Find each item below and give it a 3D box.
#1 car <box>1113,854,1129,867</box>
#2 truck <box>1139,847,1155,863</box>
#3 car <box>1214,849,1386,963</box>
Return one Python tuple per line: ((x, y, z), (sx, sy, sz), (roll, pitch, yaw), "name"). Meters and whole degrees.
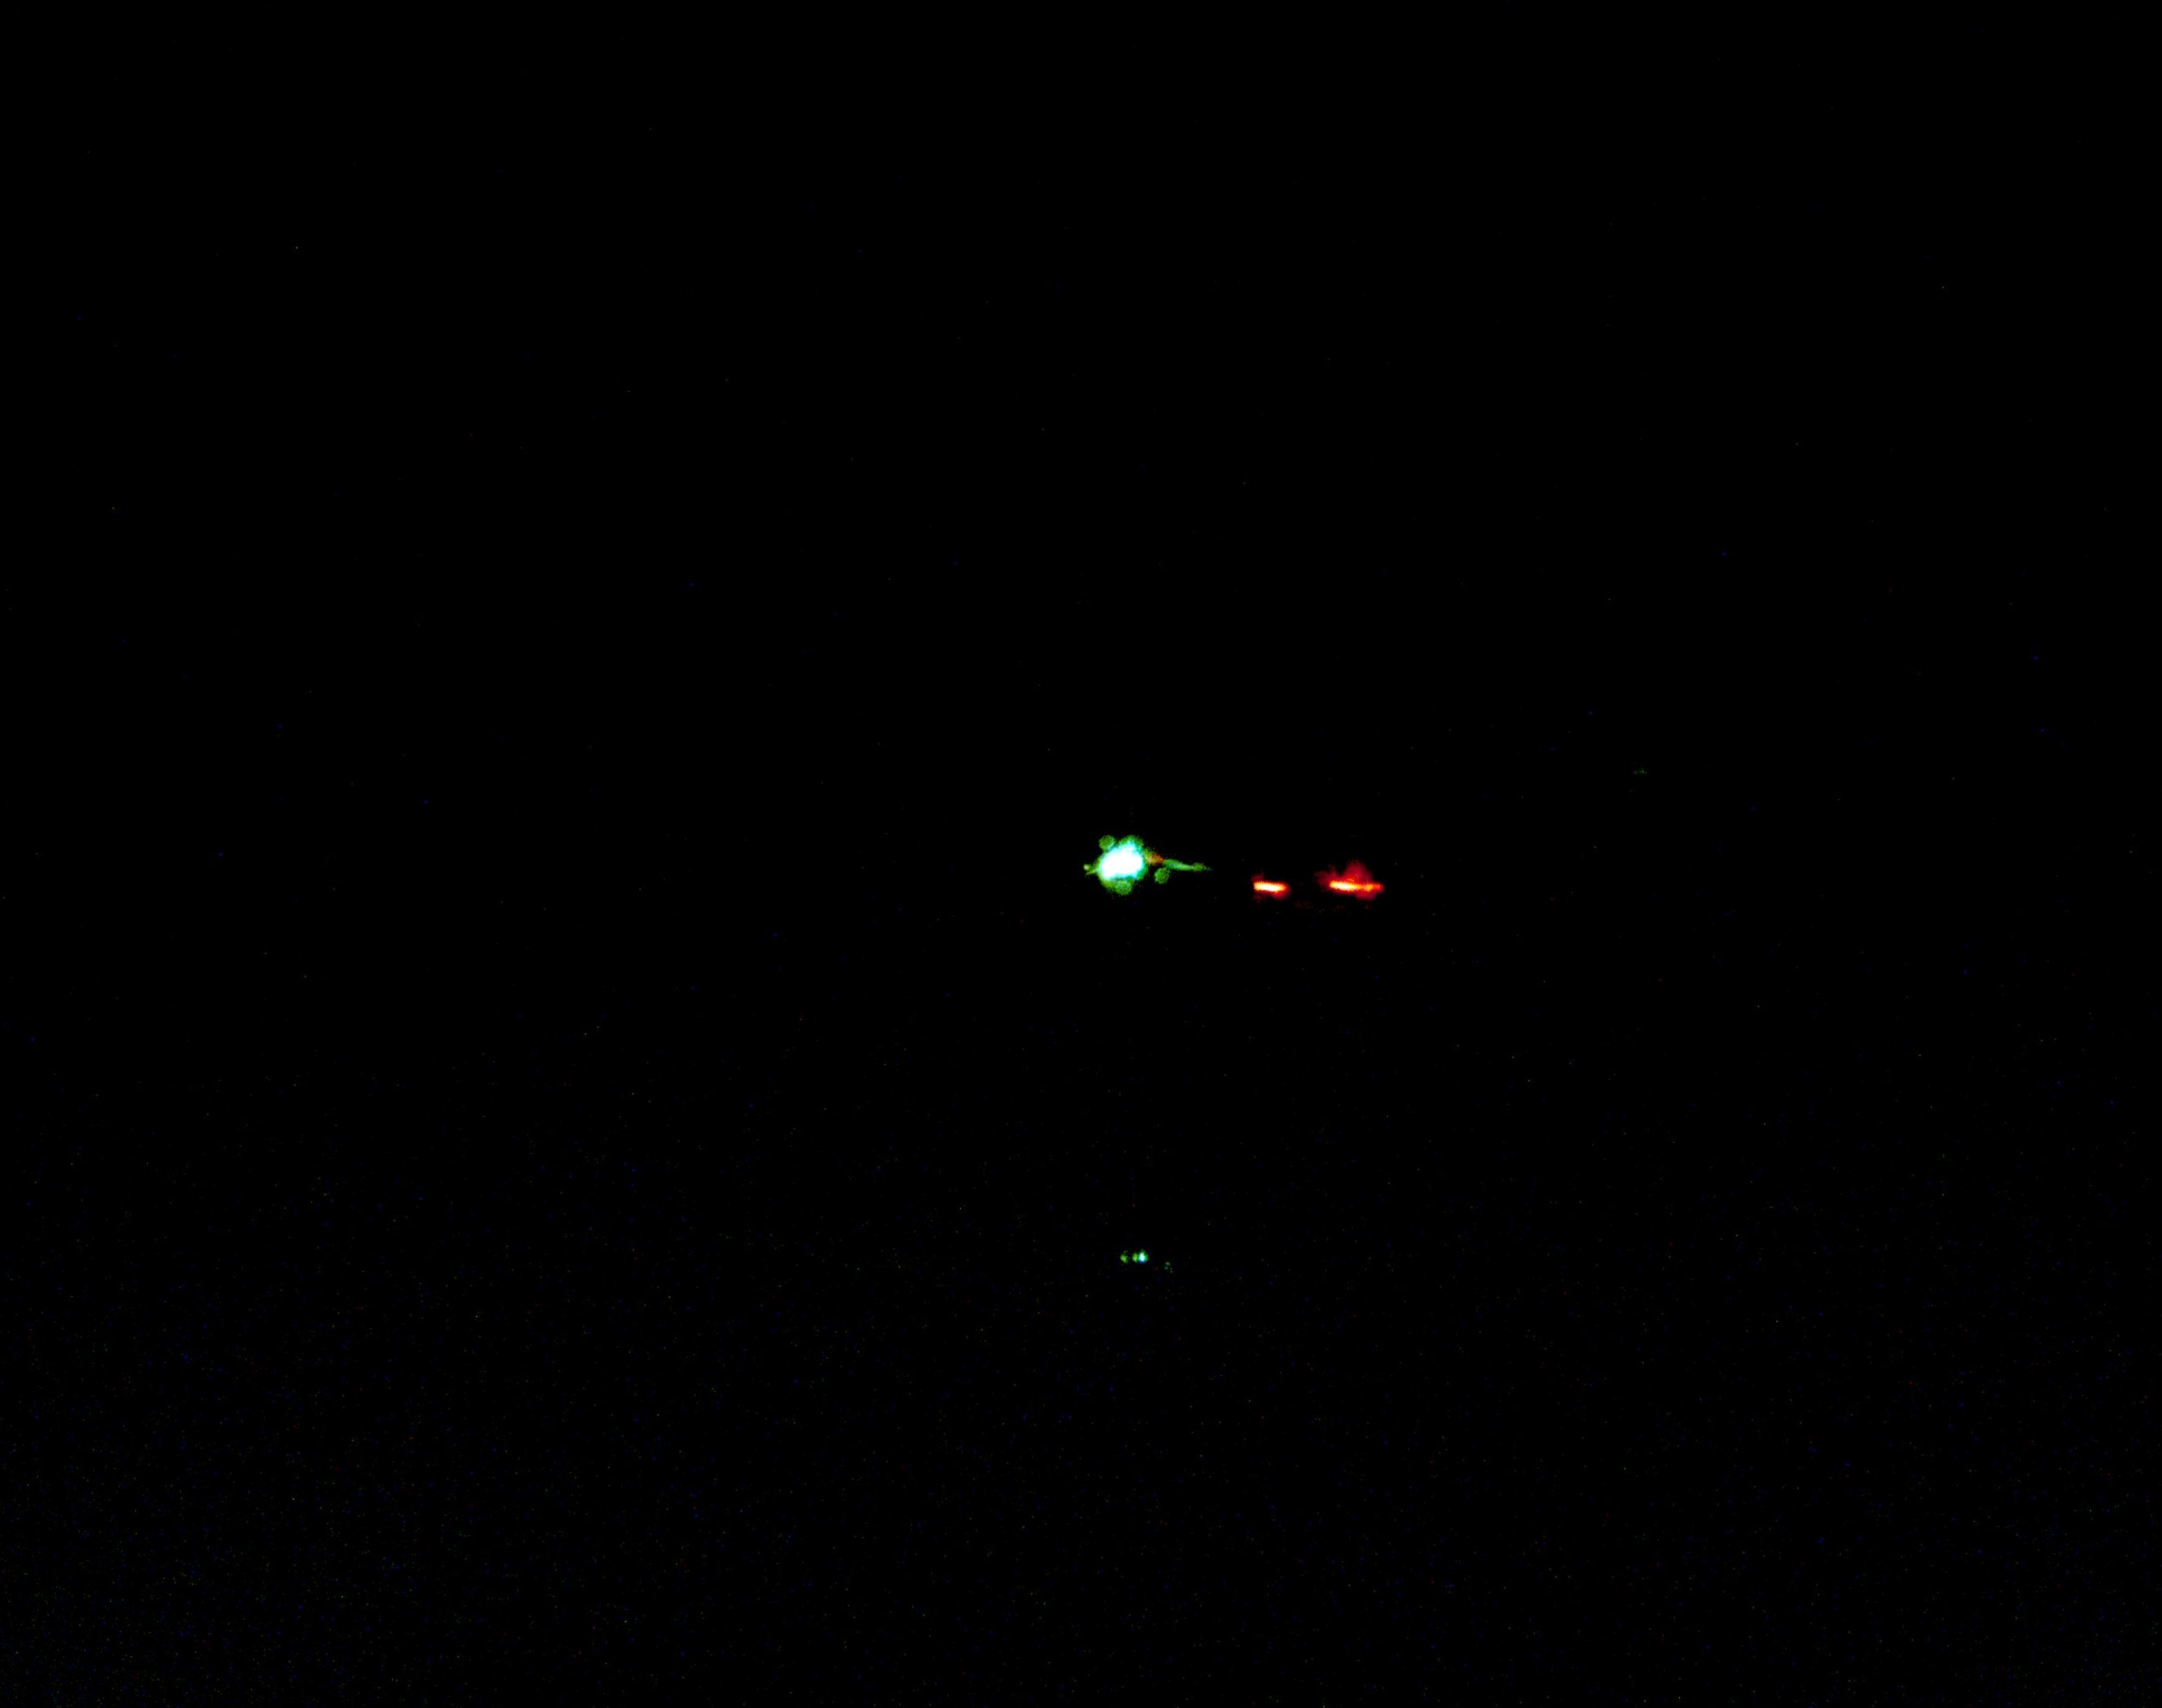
((5.138, 0.848, 97.891), (1.746, 1.623, 3.738), (-1, 0, 8), "car")
((10.410, 0.183, 120.311), (2.142, 2.520, 5.280), (-2, 0, 3), "truck")
((3.557, 0.759, 13.139), (1.925, 1.636, 4.026), (-1, 0, 2), "car")
